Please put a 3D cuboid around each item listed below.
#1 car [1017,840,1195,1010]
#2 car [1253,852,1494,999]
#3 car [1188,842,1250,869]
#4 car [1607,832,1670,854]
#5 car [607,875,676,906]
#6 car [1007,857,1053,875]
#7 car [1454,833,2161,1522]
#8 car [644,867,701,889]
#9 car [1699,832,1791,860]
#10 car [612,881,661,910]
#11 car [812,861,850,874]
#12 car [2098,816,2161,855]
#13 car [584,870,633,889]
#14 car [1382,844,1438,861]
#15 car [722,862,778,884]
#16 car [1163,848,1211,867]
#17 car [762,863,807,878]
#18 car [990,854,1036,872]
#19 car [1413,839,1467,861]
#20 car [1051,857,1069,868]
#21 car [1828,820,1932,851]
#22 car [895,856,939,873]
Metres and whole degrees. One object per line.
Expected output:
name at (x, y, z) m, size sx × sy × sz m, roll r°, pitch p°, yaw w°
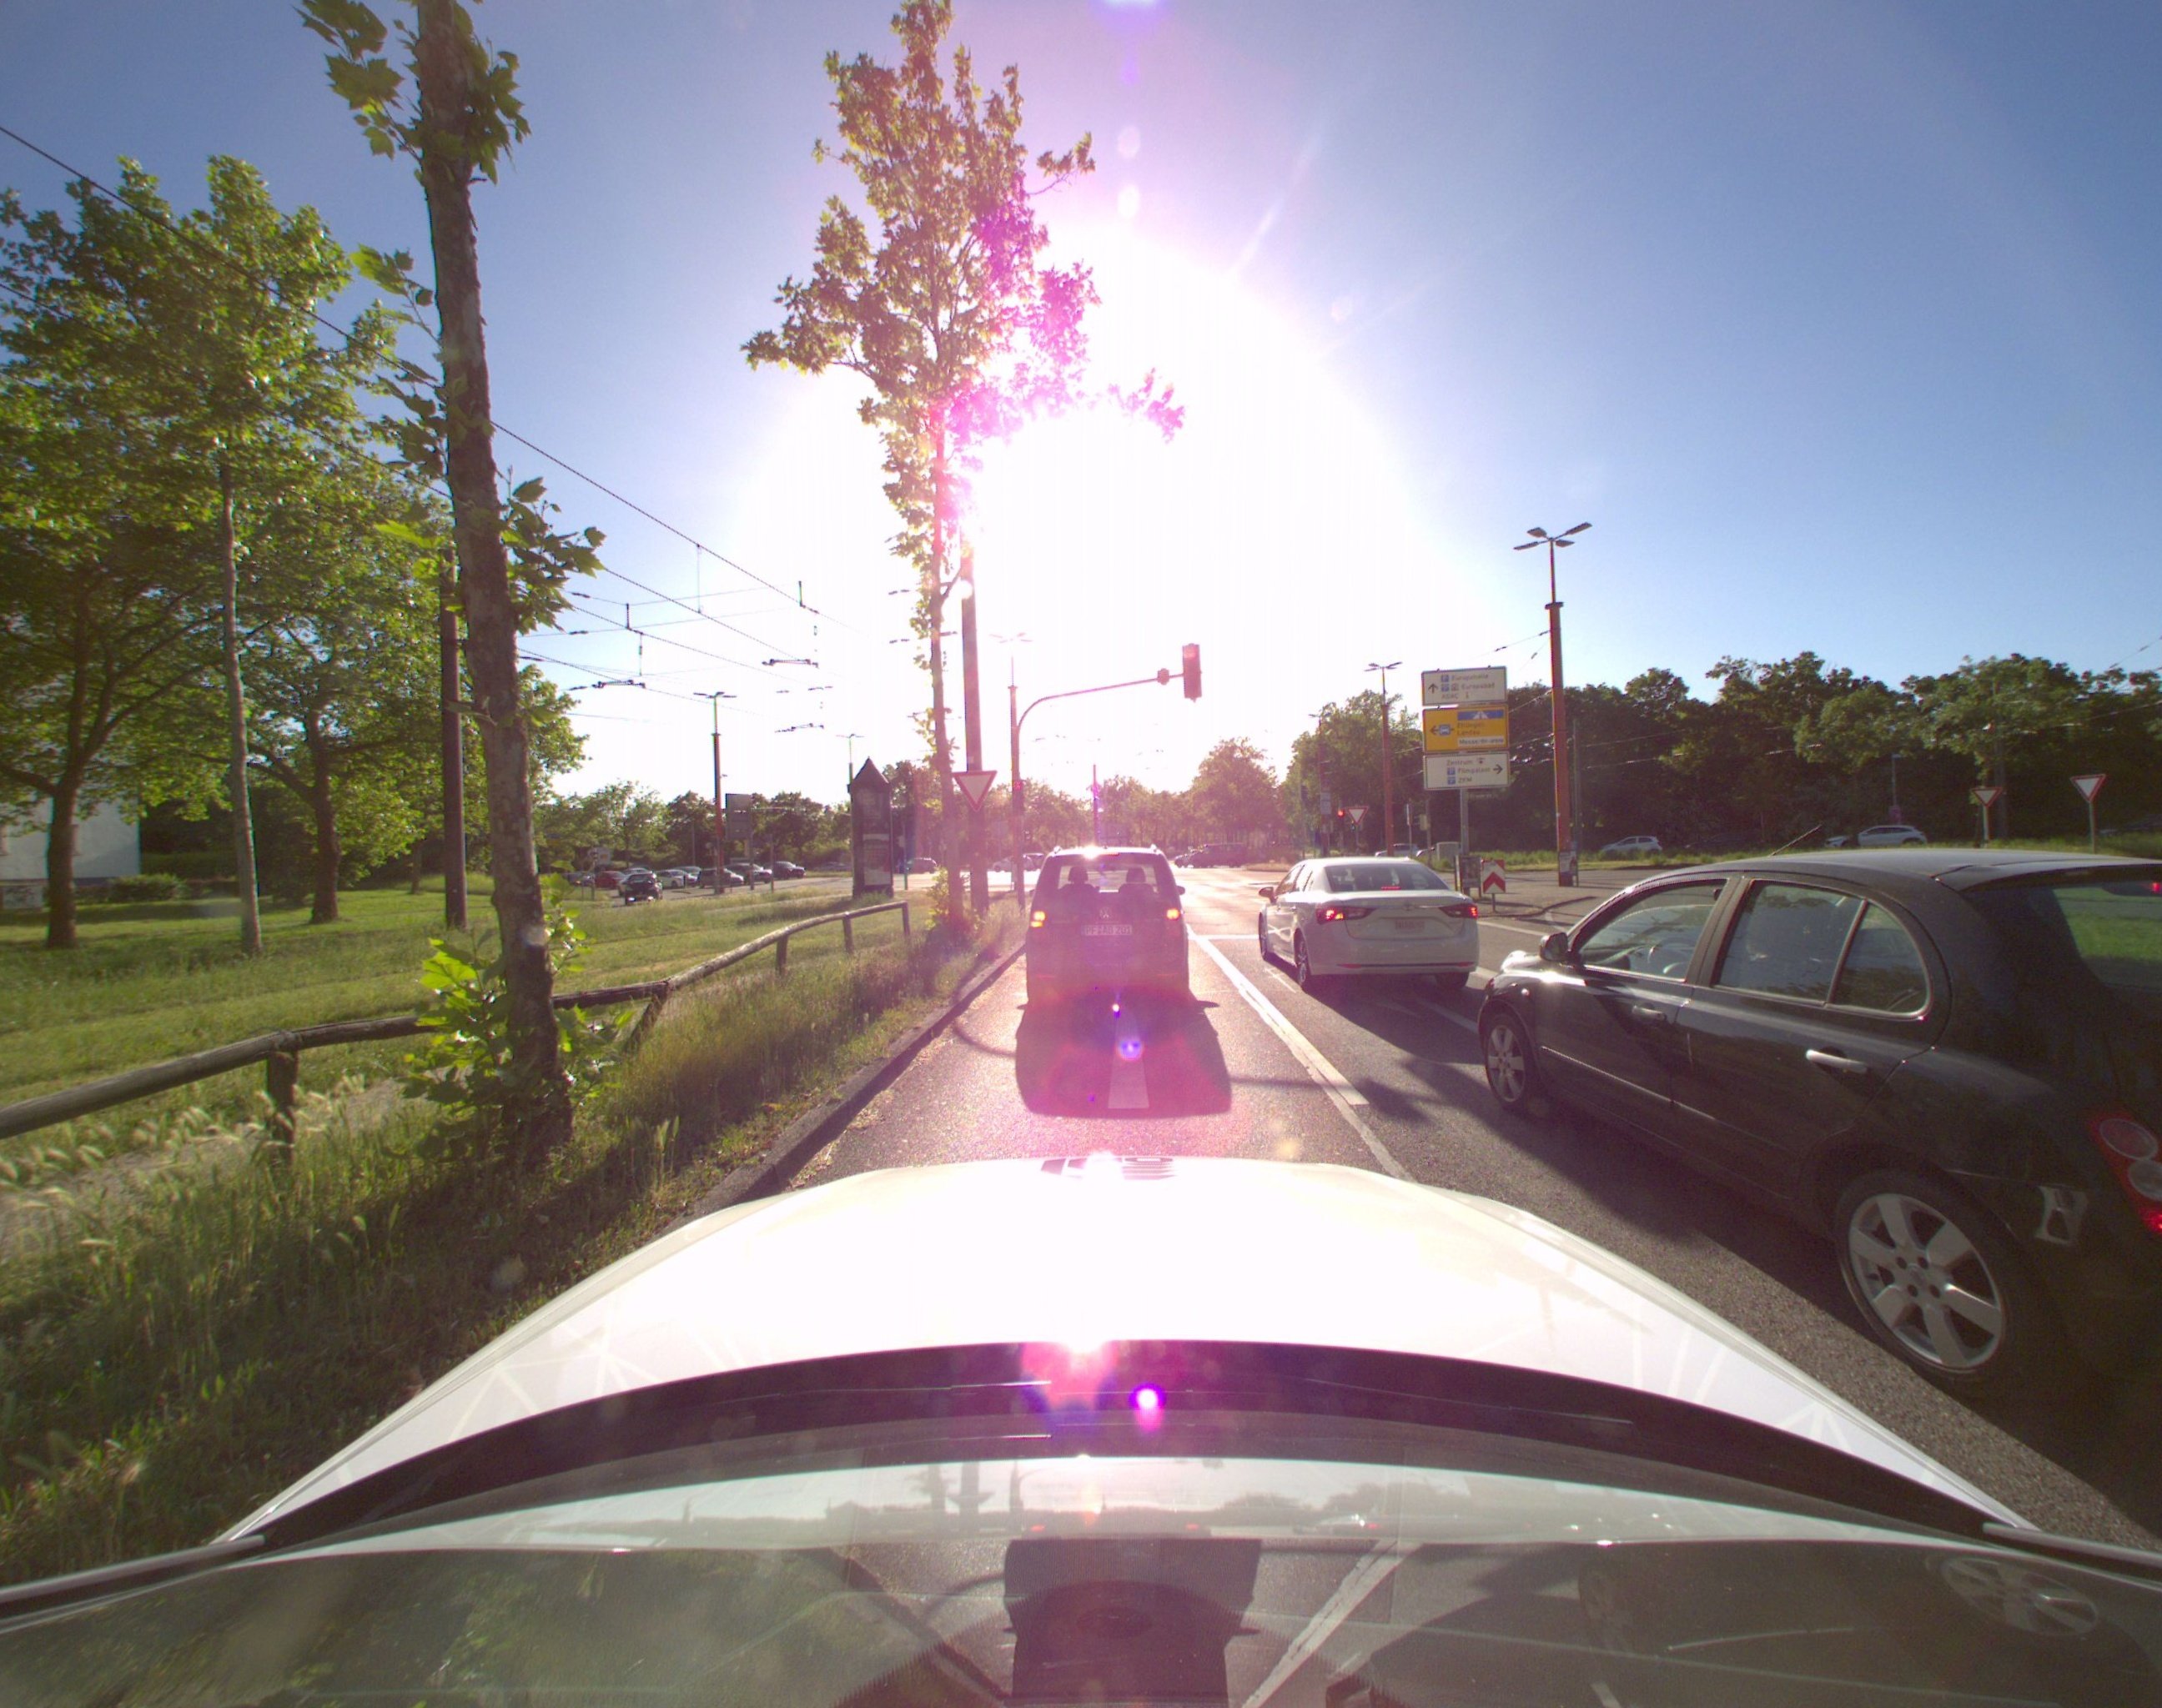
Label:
car at (0.300, 0.694, 9.932) m, size 1.694 × 1.621 × 3.898 m, roll -2°, pitch 0°, yaw 1°
car at (3.327, 0.712, 10.146) m, size 1.713 × 1.438 × 4.202 m, roll -1°, pitch 0°, yaw 3°
car at (11.249, 0.109, 66.244) m, size 4.528 × 2.013 × 2.012 m, roll -2°, pitch 0°, yaw 27°
car at (37.727, -0.729, 55.153) m, size 3.404 × 1.368 × 1.298 m, roll 0°, pitch -1°, yaw 28°
car at (-21.851, 1.782, 40.562) m, size 1.791 × 1.390 × 2.850 m, roll -2°, pitch 0°, yaw 2°
car at (-4.972, 1.207, 79.394) m, size 4.081 × 1.644 × 1.864 m, roll -2°, pitch 0°, yaw 28°
car at (3.221, 0.696, 3.564) m, size 1.647 × 1.500 × 3.617 m, roll -1°, pitch 0°, yaw 2°
car at (-32.420, 1.879, 64.635) m, size 4.135 × 1.612 × 1.880 m, roll -2°, pitch 0°, yaw 27°
car at (40.716, -0.475, 50.047) m, size 3.987 × 1.596 × 2.012 m, roll -2°, pitch 0°, yaw 25°
car at (-29.925, 2.733, 54.761) m, size 2.010 × 1.731 × 4.789 m, roll -1°, pitch 0°, yaw -39°
car at (-28.008, 1.472, 91.289) m, size 3.927 × 1.441 × 1.696 m, roll 0°, pitch -1°, yaw 26°
car at (54.890, -0.971, 41.058) m, size 4.154 × 1.883 × 1.777 m, roll -2°, pitch 0°, yaw 25°
car at (-39.693, 2.160, 68.396) m, size 3.949 × 1.513 × 1.743 m, roll -2°, pitch 0°, yaw 27°
car at (25.142, -0.134, 62.282) m, size 3.792 × 1.264 × 1.612 m, roll 0°, pitch -1°, yaw 27°
car at (-26.593, 1.543, 65.366) m, size 3.950 × 1.644 × 2.012 m, roll -2°, pitch 0°, yaw 26°
car at (9.242, 0.305, 71.061) m, size 3.700 × 1.473 × 1.610 m, roll -2°, pitch 0°, yaw 28°
car at (-26.528, 1.479, 72.849) m, size 3.948 × 1.330 × 1.709 m, roll -2°, pitch 0°, yaw 33°
car at (-6.267, 0.833, 74.985) m, size 3.783 × 1.523 × 1.705 m, roll -2°, pitch 0°, yaw 27°
car at (25.556, -0.259, 58.002) m, size 3.362 × 1.457 × 1.474 m, roll -2°, pitch 0°, yaw 28°
car at (-3.121, 1.287, 120.533) m, size 1.904 × 1.635 × 4.010 m, roll 0°, pitch 0°, yaw 9°
car at (48.141, -1.083, 49.166) m, size 4.188 × 1.681 × 1.713 m, roll -2°, pitch 0°, yaw 32°
car at (-16.303, 1.045, 80.953) m, size 4.080 × 1.598 × 1.840 m, roll -2°, pitch 0°, yaw 29°
